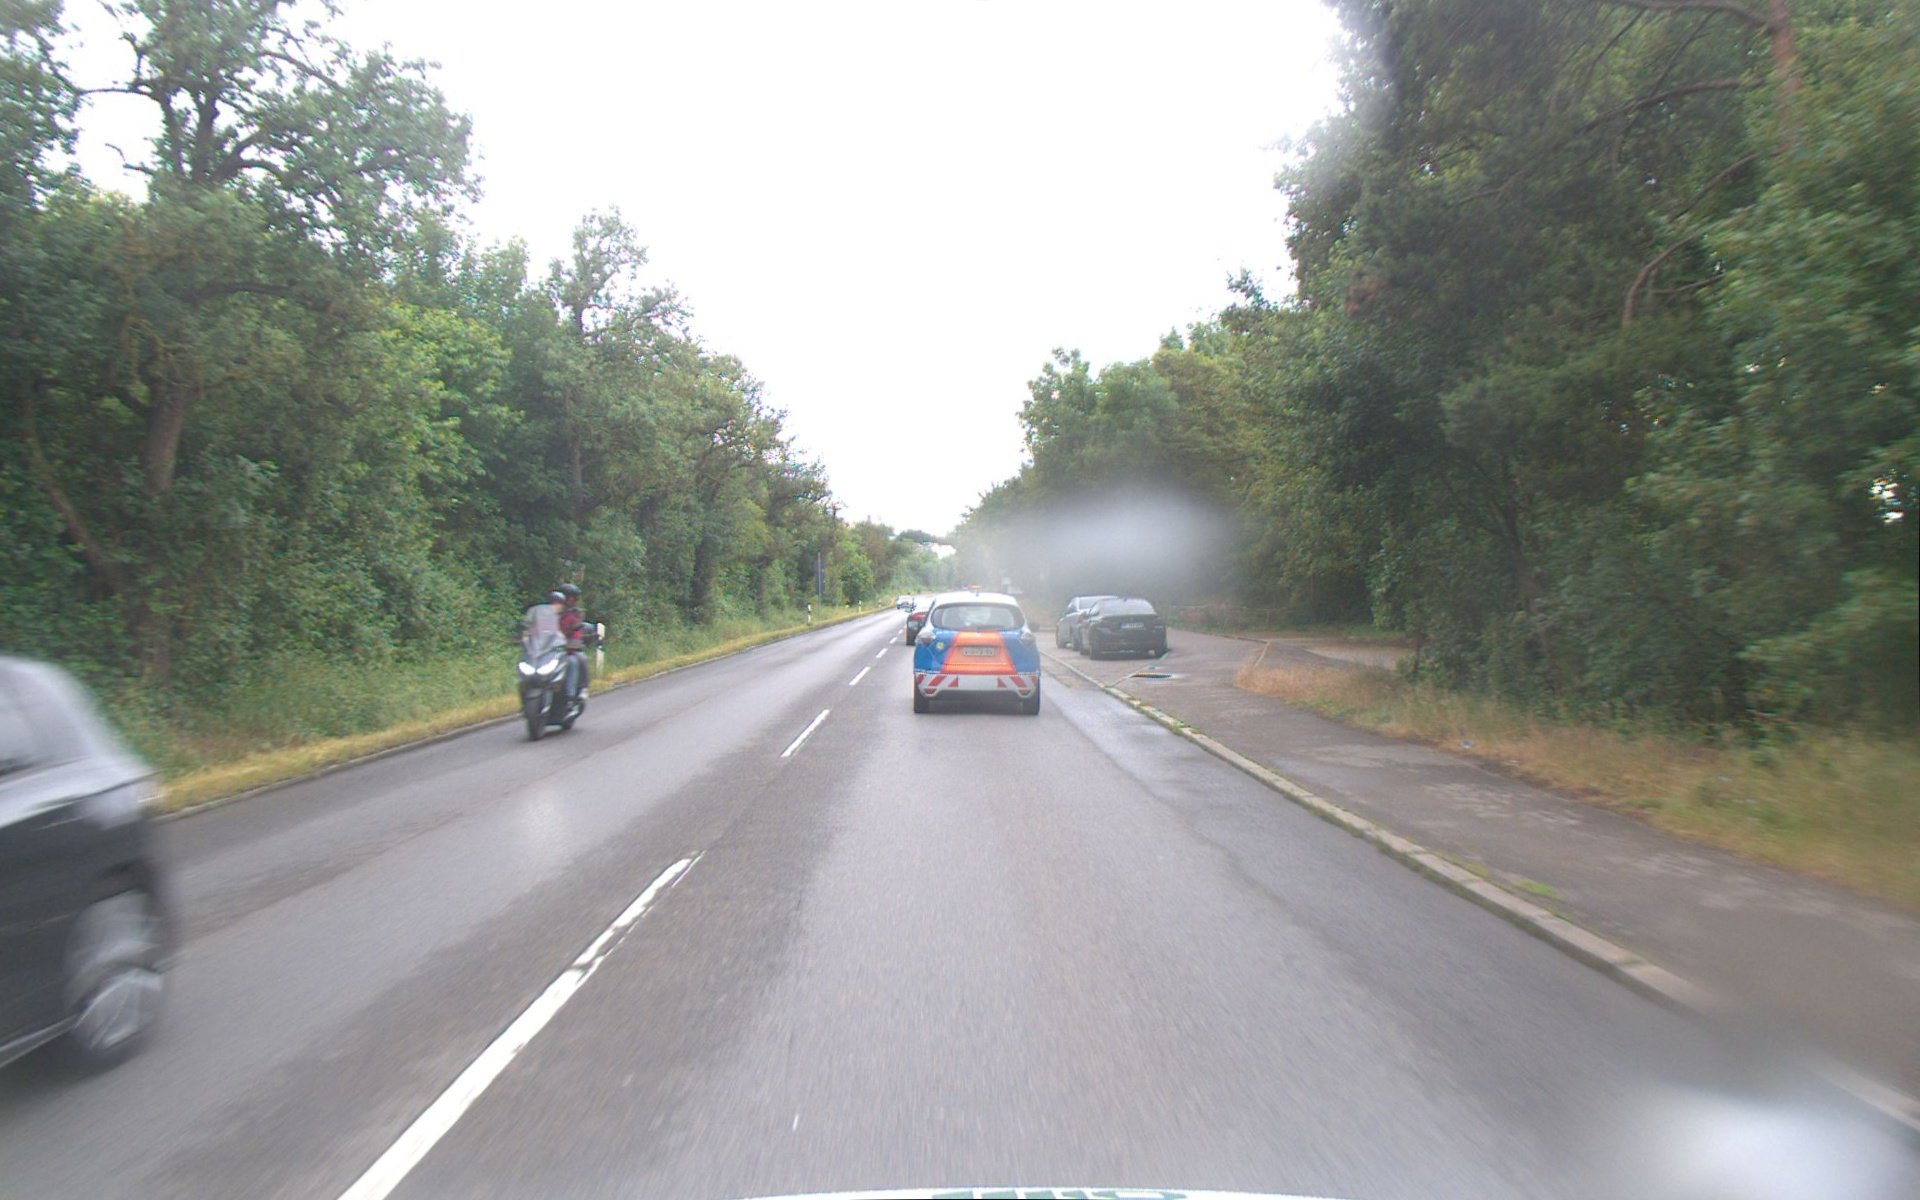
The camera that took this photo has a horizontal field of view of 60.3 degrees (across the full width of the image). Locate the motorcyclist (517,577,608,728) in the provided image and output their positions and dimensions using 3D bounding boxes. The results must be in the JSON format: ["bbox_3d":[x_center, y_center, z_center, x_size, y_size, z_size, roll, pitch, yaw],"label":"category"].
[{"bbox_3d":[-4.754,0.606,19.834,0.851,1.753,1.035,0,0,-2],"label":"motorcyclist"}]

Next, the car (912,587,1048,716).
[{"bbox_3d":[0.231,0.639,22.931,1.716,1.582,3.792,1,1,-1],"label":"car"}]

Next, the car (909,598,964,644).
[{"bbox_3d":[-0.687,0.614,49.850,1.566,1.309,3.476,-1,0,0],"label":"car"}]

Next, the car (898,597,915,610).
[{"bbox_3d":[-5.980,0.390,184.319,1.846,1.411,3.998,0,0,-2],"label":"car"}]

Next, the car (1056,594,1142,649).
[{"bbox_3d":[3.808,0.568,45.911,1.953,1.466,4.066,0,0,-2],"label":"car"}]

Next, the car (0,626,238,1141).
[{"bbox_3d":[-3.554,0.846,4.160,1.676,1.423,4.149,-2,0,-1],"label":"car"}]

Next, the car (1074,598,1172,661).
[{"bbox_3d":[3.856,0.663,39.734,1.953,1.400,4.000,-1,0,0],"label":"car"}]

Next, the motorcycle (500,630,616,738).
[{"bbox_3d":[-4.749,0.963,19.698,0.851,1.145,2.394,0,0,-2],"label":"motorcycle"}]
